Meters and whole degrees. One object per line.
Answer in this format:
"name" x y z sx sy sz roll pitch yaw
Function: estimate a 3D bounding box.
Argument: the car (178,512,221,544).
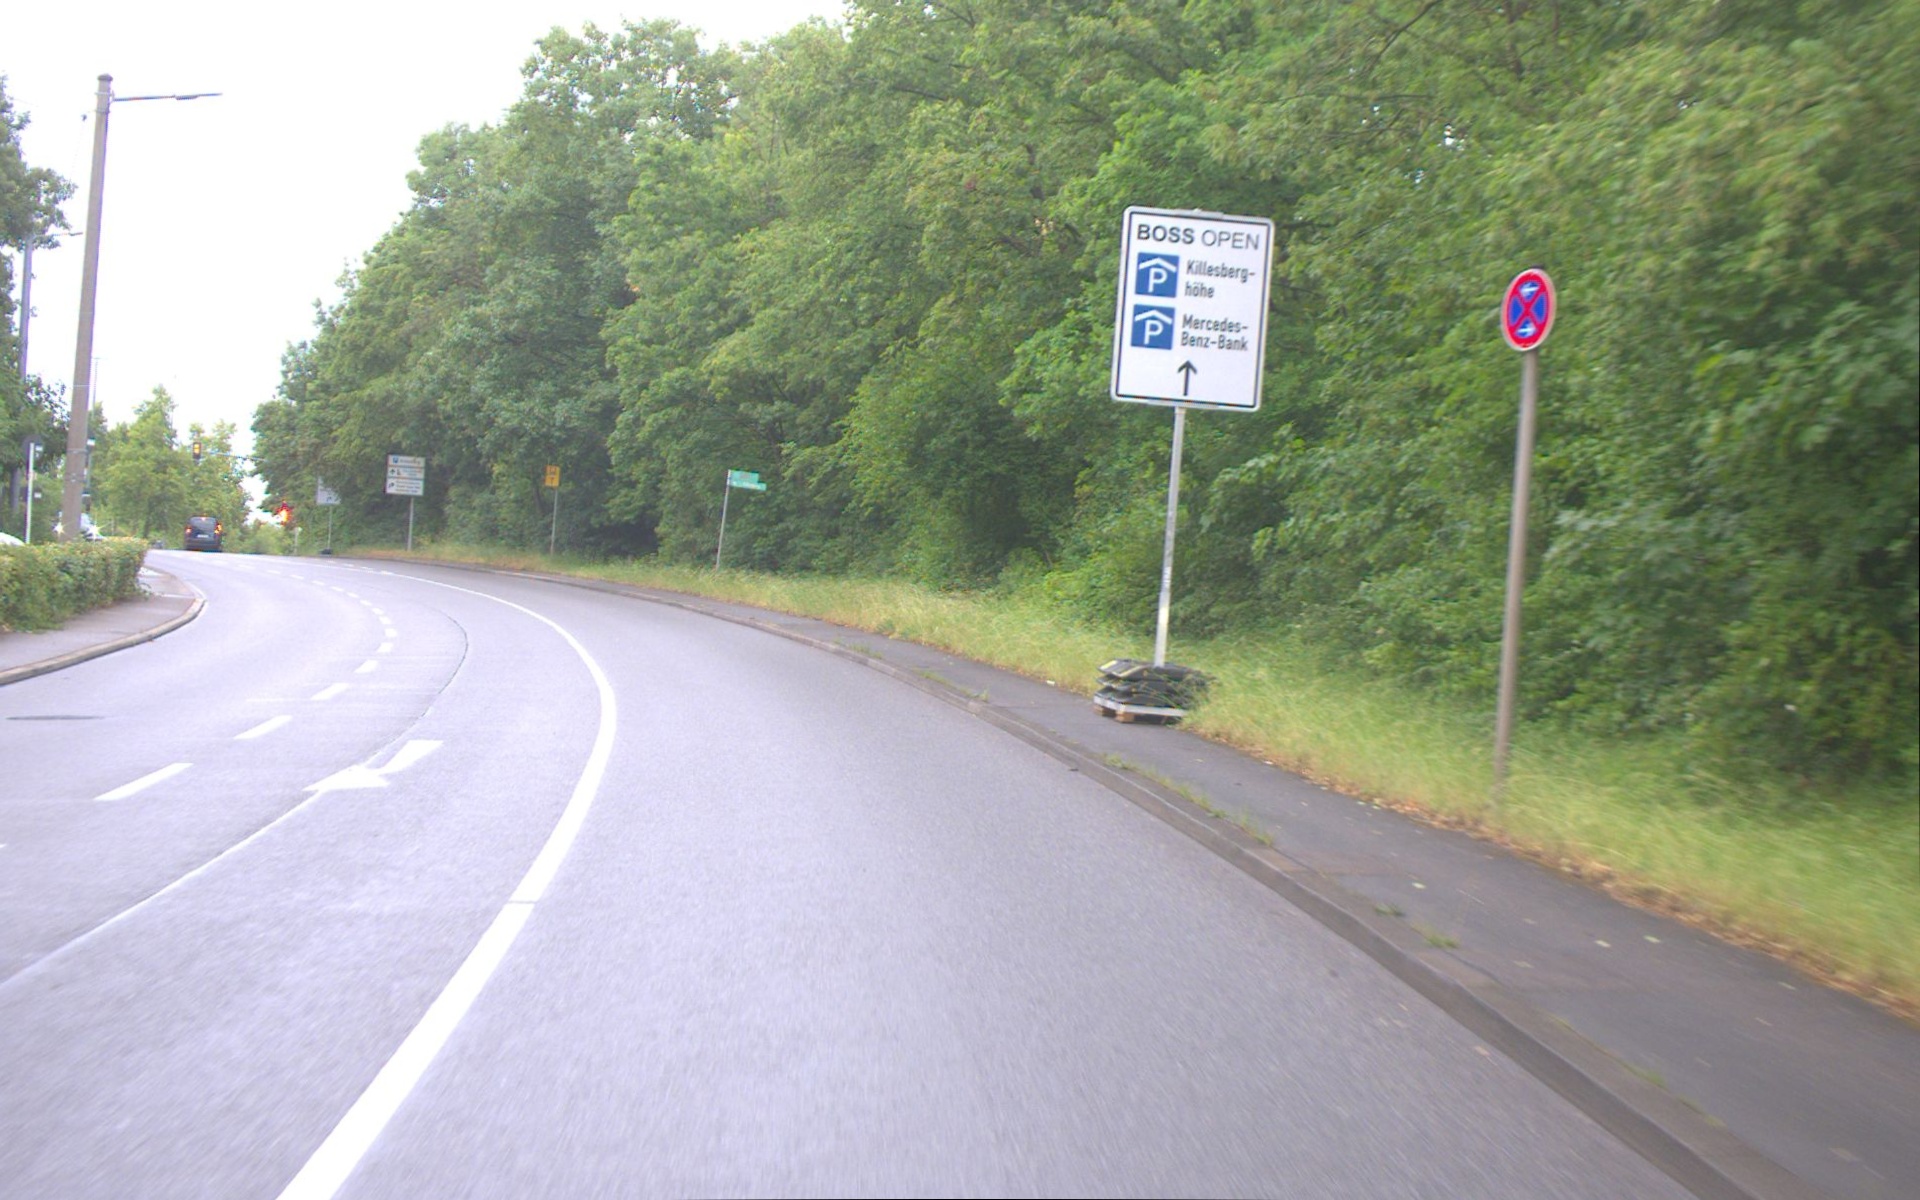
"car" -37.938 -3.604 171.559 1.934 1.493 4.319 2 1 -11

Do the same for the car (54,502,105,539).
"car" -38.004 -3.436 148.319 1.934 1.493 4.319 2 1 -17

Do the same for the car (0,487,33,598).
"car" -16.966 -0.992 54.030 4.290 1.702 2.000 2 1 -5

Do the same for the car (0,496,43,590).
"car" -17.859 -1.063 59.618 3.644 1.586 1.852 2 1 -12
